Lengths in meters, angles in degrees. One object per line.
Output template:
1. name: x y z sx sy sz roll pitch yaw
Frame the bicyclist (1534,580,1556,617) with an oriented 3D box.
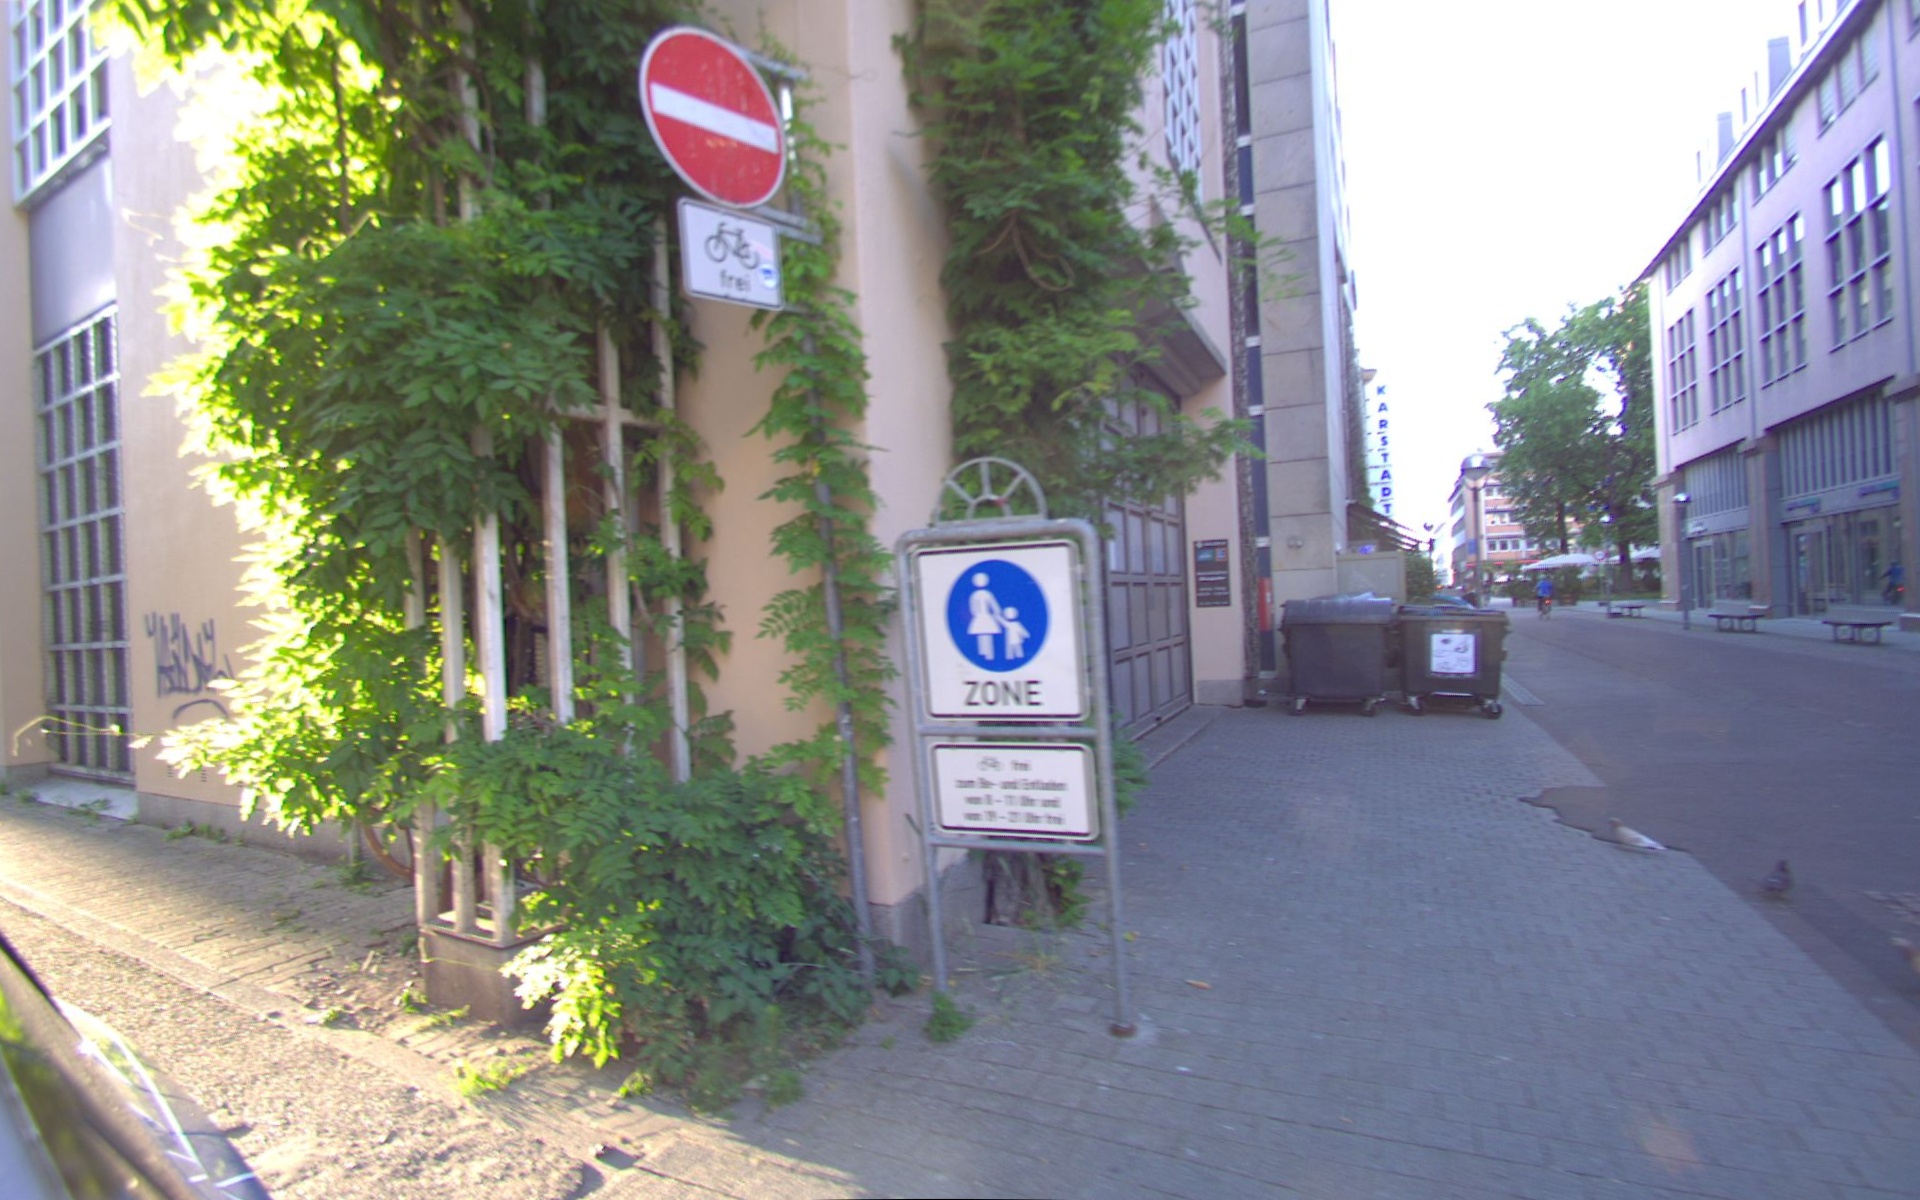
1. bicyclist: 22.731 -0.050 39.339 0.585 1.419 0.628 -3 -1 21

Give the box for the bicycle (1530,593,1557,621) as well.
1. bicycle: 22.840 0.270 39.633 0.540 1.059 1.935 -3 -1 21

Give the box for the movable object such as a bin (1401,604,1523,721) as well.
1. movable object such as a bin: 6.128 0.721 12.438 1.224 1.340 1.160 0 0 21

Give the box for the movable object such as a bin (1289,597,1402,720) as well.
1. movable object such as a bin: 4.792 0.697 12.630 1.223 1.448 1.160 -2 0 21

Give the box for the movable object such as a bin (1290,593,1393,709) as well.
1. movable object such as a bin: 5.184 0.667 13.799 1.223 1.499 1.160 -2 0 21

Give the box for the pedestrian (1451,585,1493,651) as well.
1. pedestrian: 12.847 0.446 25.400 0.697 1.599 0.710 -3 -1 43

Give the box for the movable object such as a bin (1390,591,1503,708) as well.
1. movable object such as a bin: 6.489 0.622 13.588 1.268 1.478 1.160 0 0 21
